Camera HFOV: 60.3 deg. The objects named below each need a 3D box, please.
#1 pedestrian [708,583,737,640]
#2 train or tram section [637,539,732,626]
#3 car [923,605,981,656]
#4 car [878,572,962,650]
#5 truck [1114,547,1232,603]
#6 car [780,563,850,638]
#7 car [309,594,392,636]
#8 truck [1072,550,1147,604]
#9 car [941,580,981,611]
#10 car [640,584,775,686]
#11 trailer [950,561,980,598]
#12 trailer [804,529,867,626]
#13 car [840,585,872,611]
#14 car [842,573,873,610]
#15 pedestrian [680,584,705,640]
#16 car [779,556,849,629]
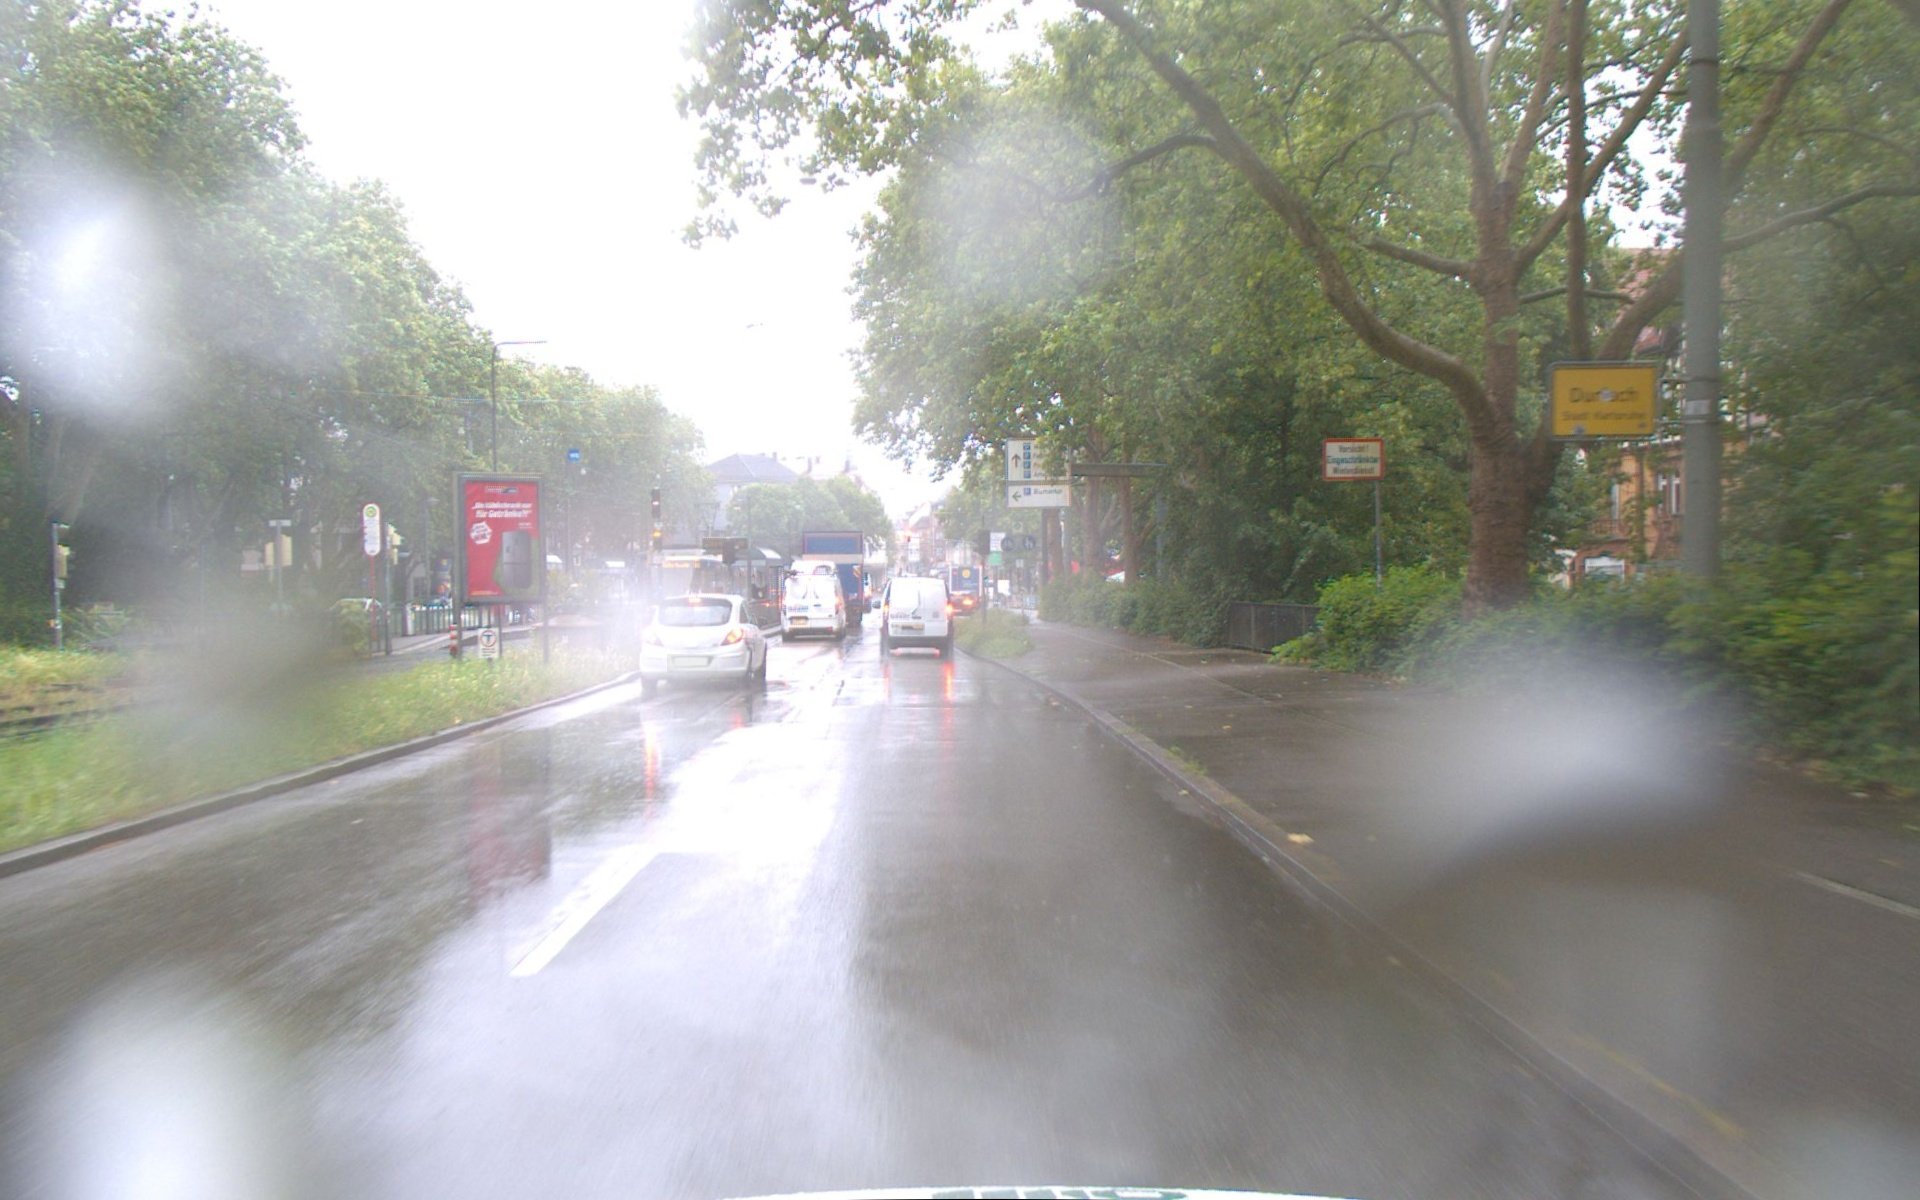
[{"bbox_3d":[-7.446,0.353,51.784,0.774,1.744,0.770,1,-1,-3],"label":"pedestrian"},{"bbox_3d":[-11.497,-0.767,69.727,2.902,3.342,8.356,-2,1,-3],"label":"train or tram section"},{"bbox_3d":[-0.283,1.007,55.610,1.869,1.646,3.999,0,-1,-1],"label":"car"},{"bbox_3d":[-0.990,0.272,39.870,1.919,1.808,3.568,0,-1,-2],"label":"car"},{"bbox_3d":[20.694,-2.441,161.150,11.122,4.985,3.292,-2,1,7],"label":"truck"},{"bbox_3d":[-4.660,0.037,53.689,1.953,2.302,5.286,0,-1,-2],"label":"car"},{"bbox_3d":[-24.364,0.573,66.228,1.895,1.544,3.999,-1,0,-2],"label":"car"},{"bbox_3d":[14.657,-2.261,161.854,7.005,4.985,3.292,-2,1,7],"label":"truck"},{"bbox_3d":[0.075,-0.228,87.434,1.952,1.569,4.001,0,0,2],"label":"car"},{"bbox_3d":[-3.925,0.536,26.253,1.691,1.505,3.803,0,-1,-2],"label":"car"},{"bbox_3d":[0.330,-1.362,111.614,1.953,2.357,4.667,0,-1,-1],"label":"trailer"},{"bbox_3d":[-5.317,-0.951,71.344,2.539,3.968,7.631,0,0,-3],"label":"trailer"},{"bbox_3d":[-6.794,-0.119,108.443,1.953,1.606,4.290,1,0,-2],"label":"car"},{"bbox_3d":[-7.049,-0.579,113.955,1.953,2.485,4.610,1,0,-2],"label":"car"},{"bbox_3d":[-8.550,0.377,52.930,0.701,1.775,0.750,0,0,-3],"label":"pedestrian"},{"bbox_3d":[-5.412,-0.234,62.176,2.283,2.602,6.111,0,-1,-2],"label":"car"}]
